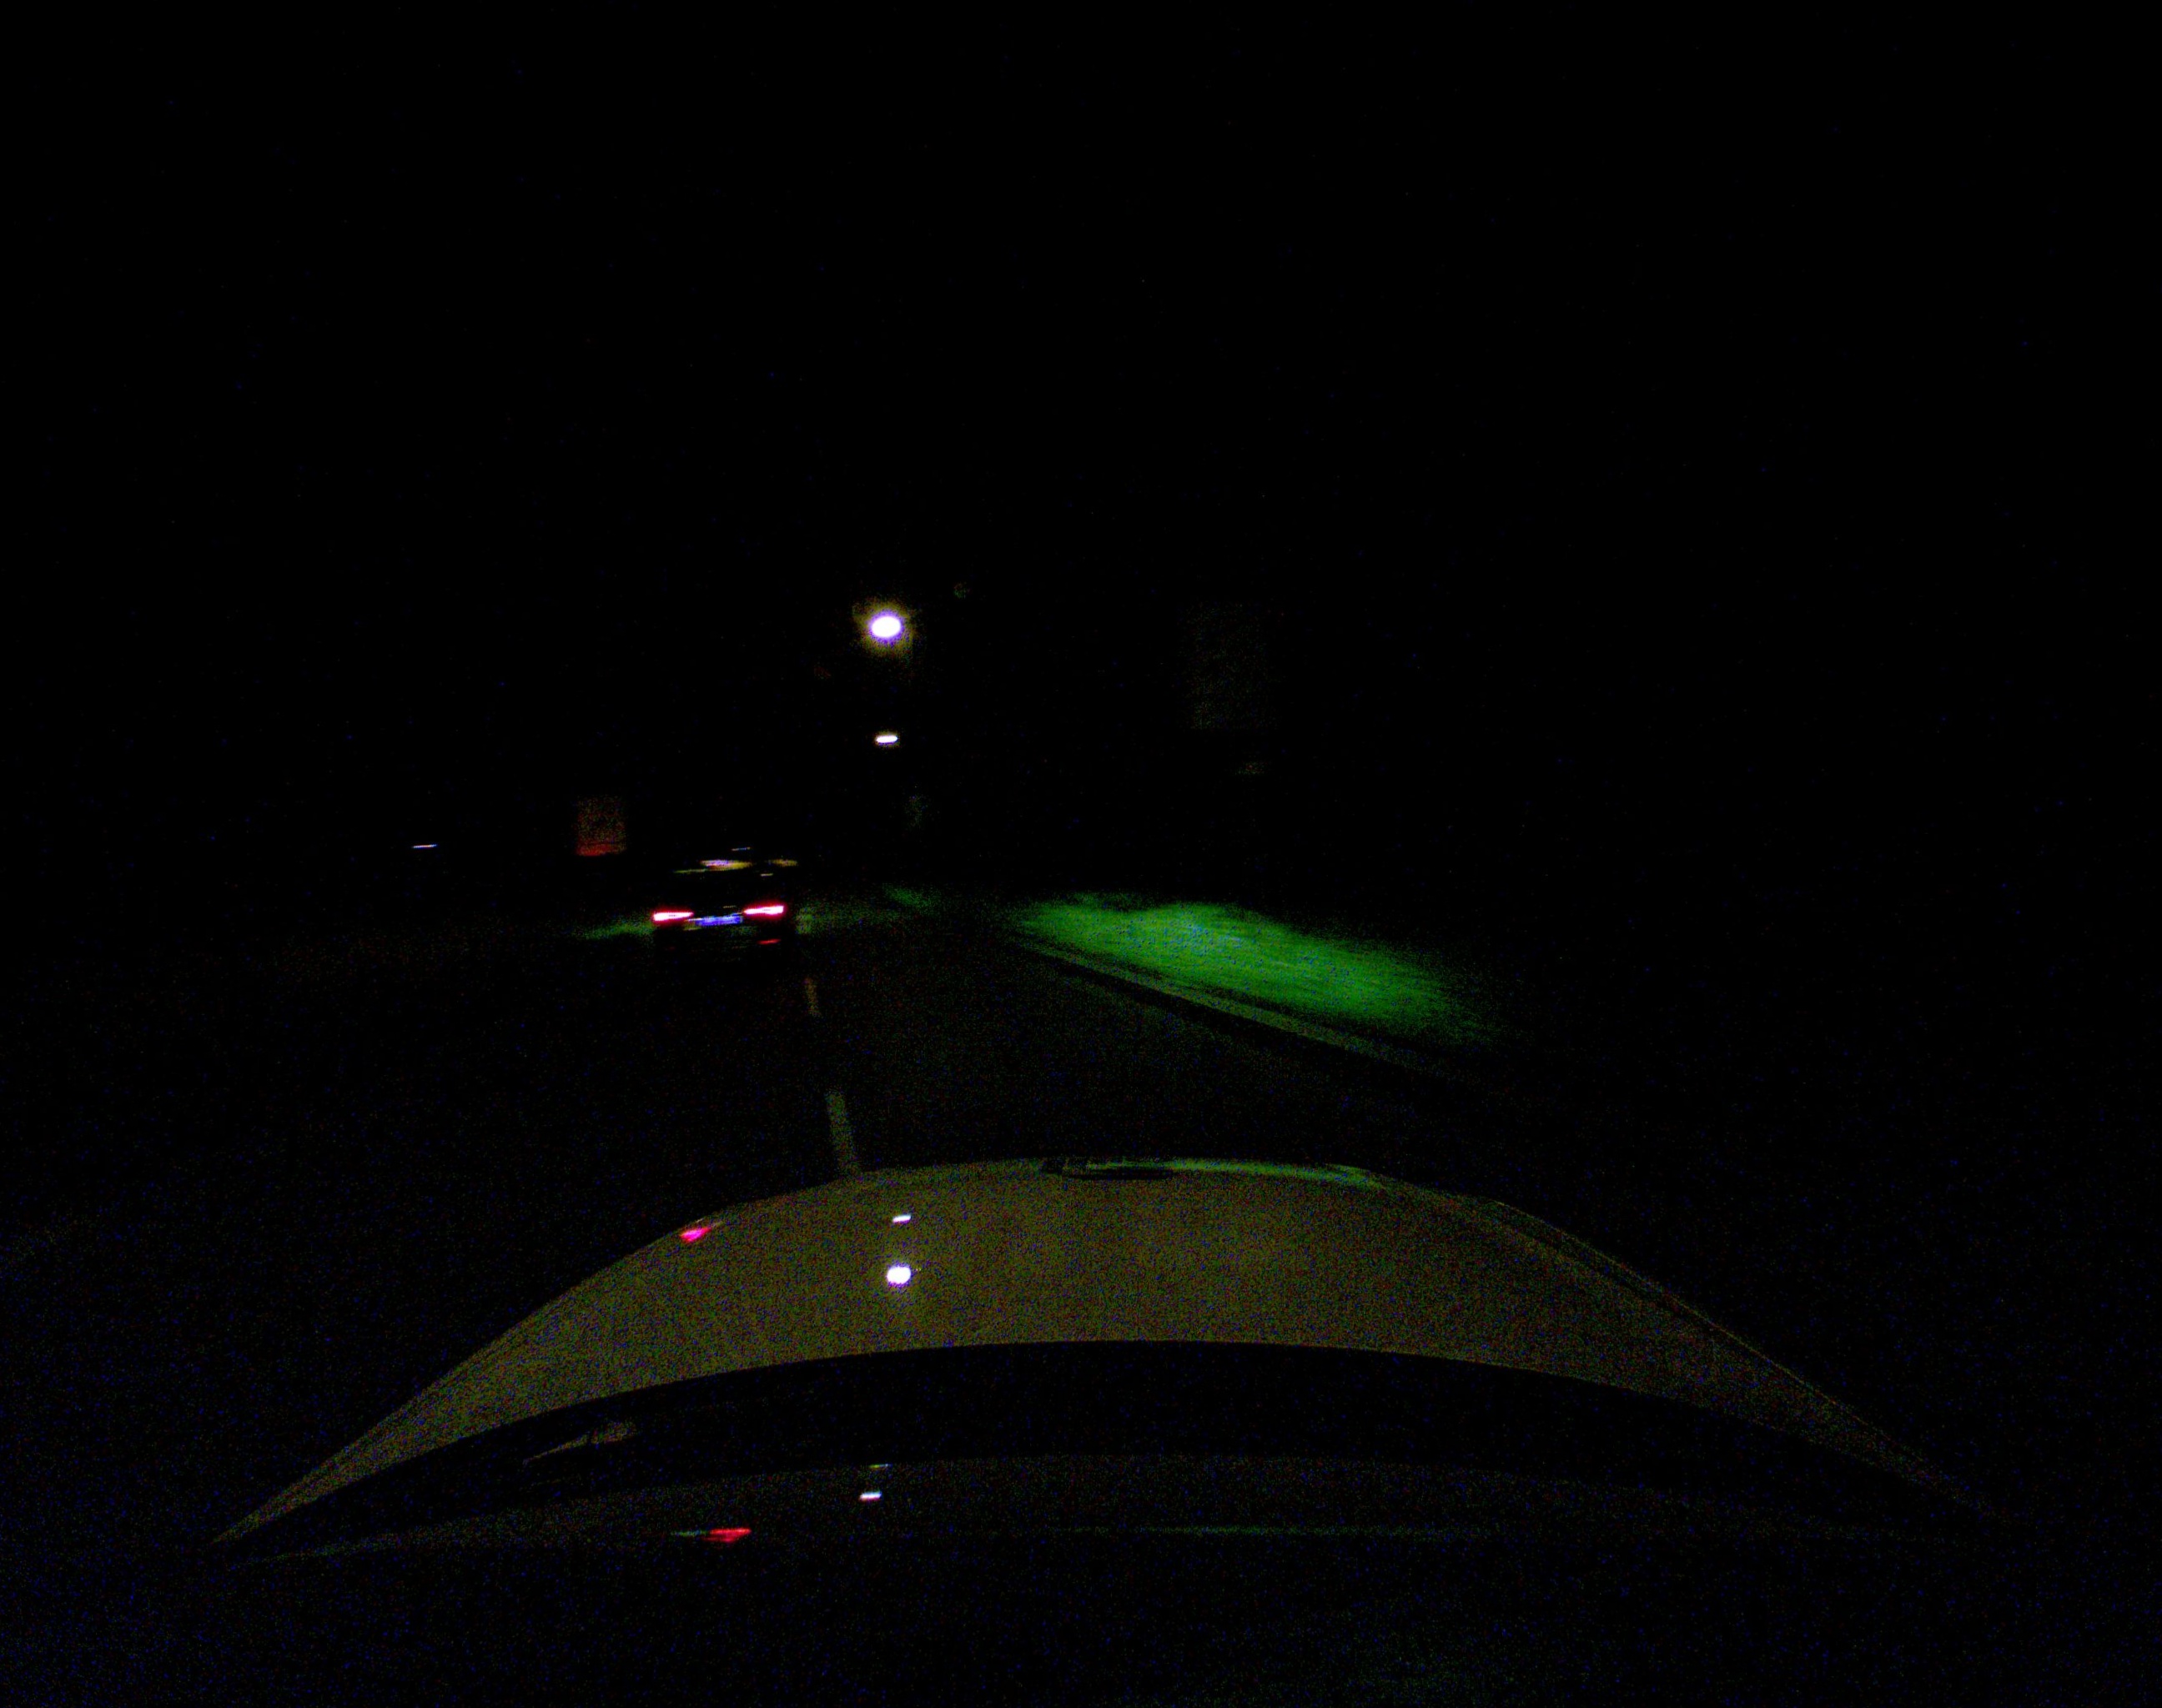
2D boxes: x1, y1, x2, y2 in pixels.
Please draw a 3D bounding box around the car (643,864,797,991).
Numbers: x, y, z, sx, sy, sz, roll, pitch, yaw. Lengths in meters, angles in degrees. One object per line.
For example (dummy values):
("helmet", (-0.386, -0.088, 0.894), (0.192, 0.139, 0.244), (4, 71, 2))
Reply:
("car", (-5.695, 1.017, 13.006), (1.860, 1.582, 3.975), (-3, 0, -23))
